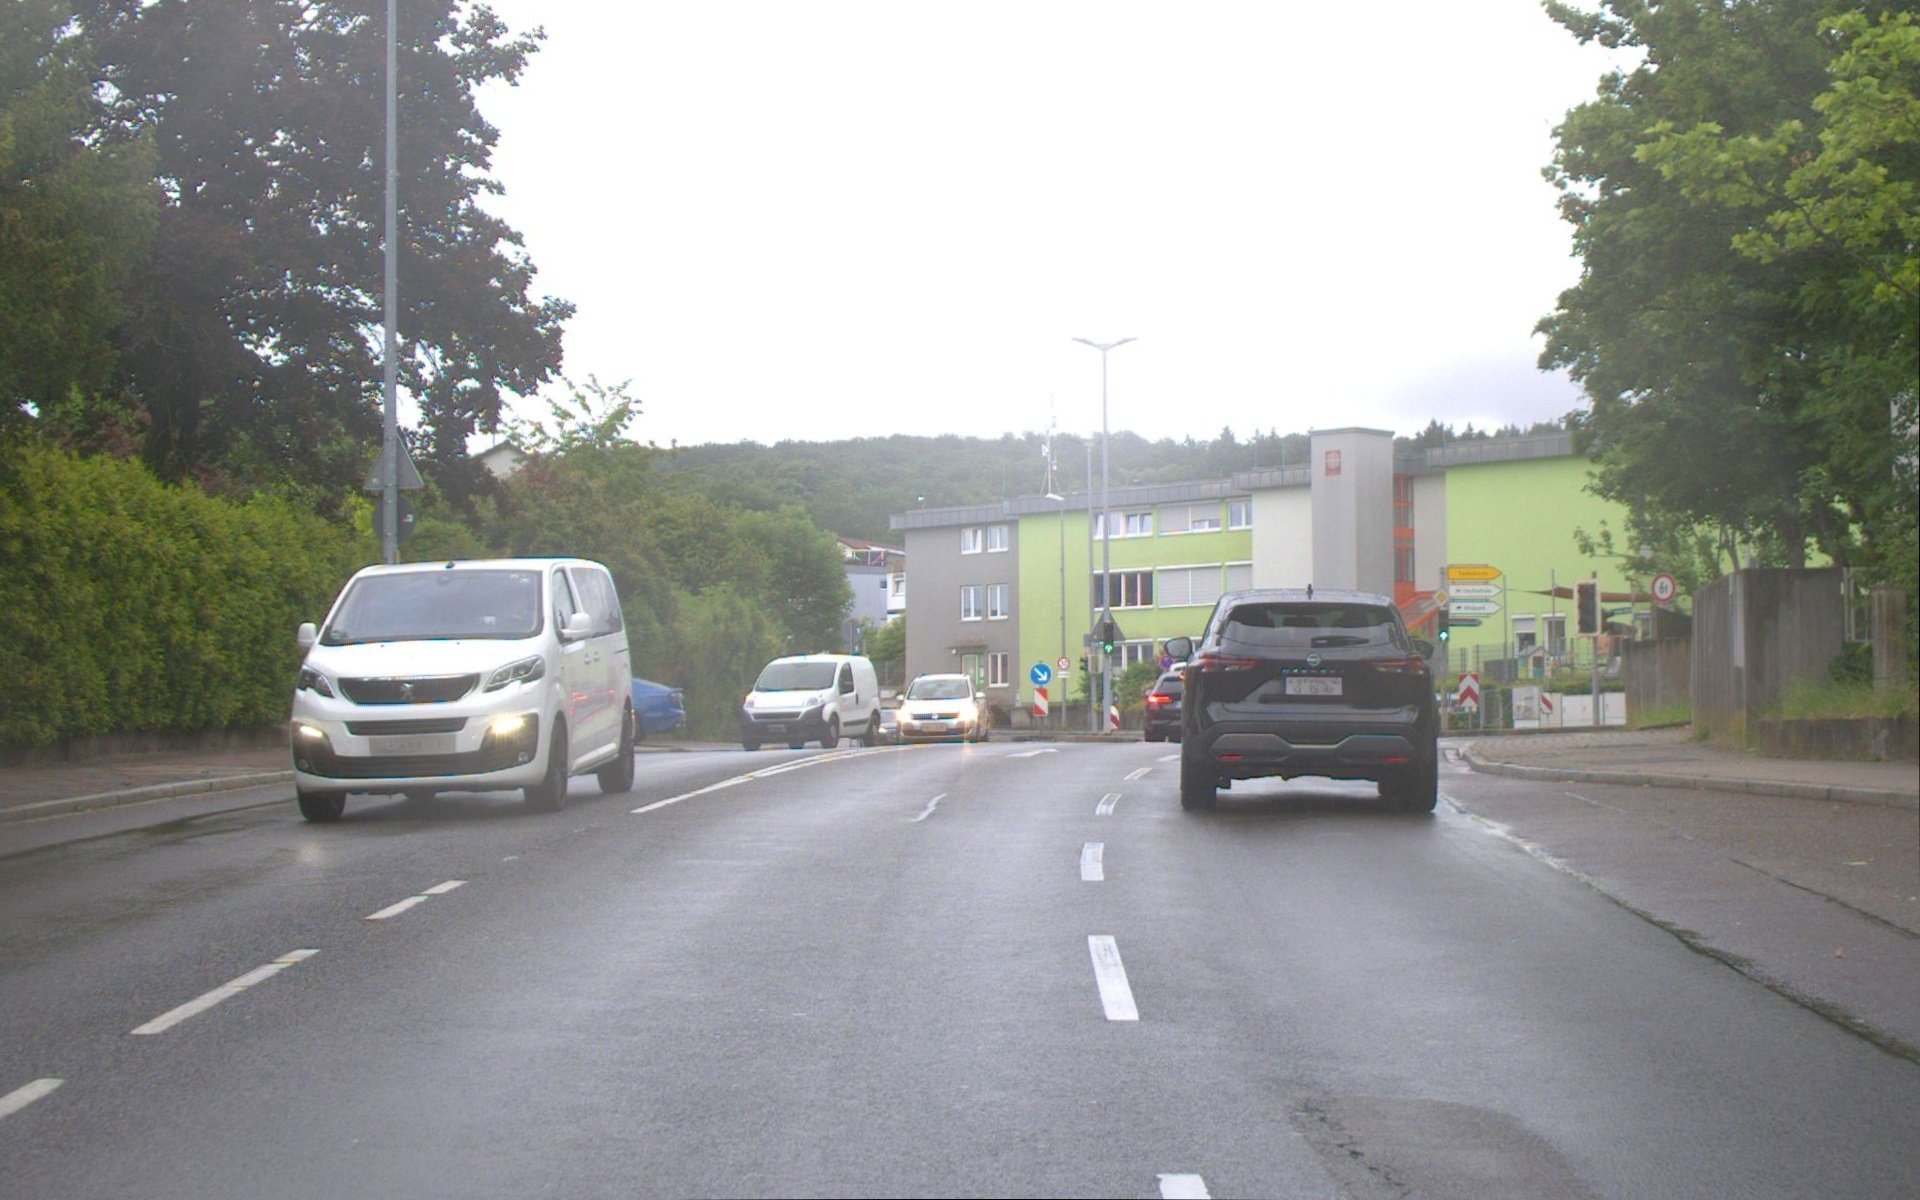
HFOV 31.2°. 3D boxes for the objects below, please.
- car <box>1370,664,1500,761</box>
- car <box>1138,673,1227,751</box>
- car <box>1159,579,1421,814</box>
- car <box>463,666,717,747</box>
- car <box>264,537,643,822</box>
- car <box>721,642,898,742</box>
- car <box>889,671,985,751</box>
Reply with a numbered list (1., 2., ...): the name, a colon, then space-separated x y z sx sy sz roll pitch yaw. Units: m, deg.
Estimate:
1. car: 7.945 1.846 57.245 1.994 1.437 3.998 1 0 10
2. car: 4.646 2.336 72.182 1.682 1.501 3.773 0 0 1
3. car: 2.444 0.655 25.838 1.790 1.598 4.252 0 0 5
4. car: -6.850 1.973 63.984 4.482 1.357 1.805 1 -1 1
5. car: -3.749 0.542 26.367 1.863 1.910 5.029 -2 0 3
6. car: -2.706 1.695 62.655 1.702 1.702 3.974 2 -1 21
7. car: -0.475 2.390 74.429 1.635 1.574 4.056 -4 -2 4
